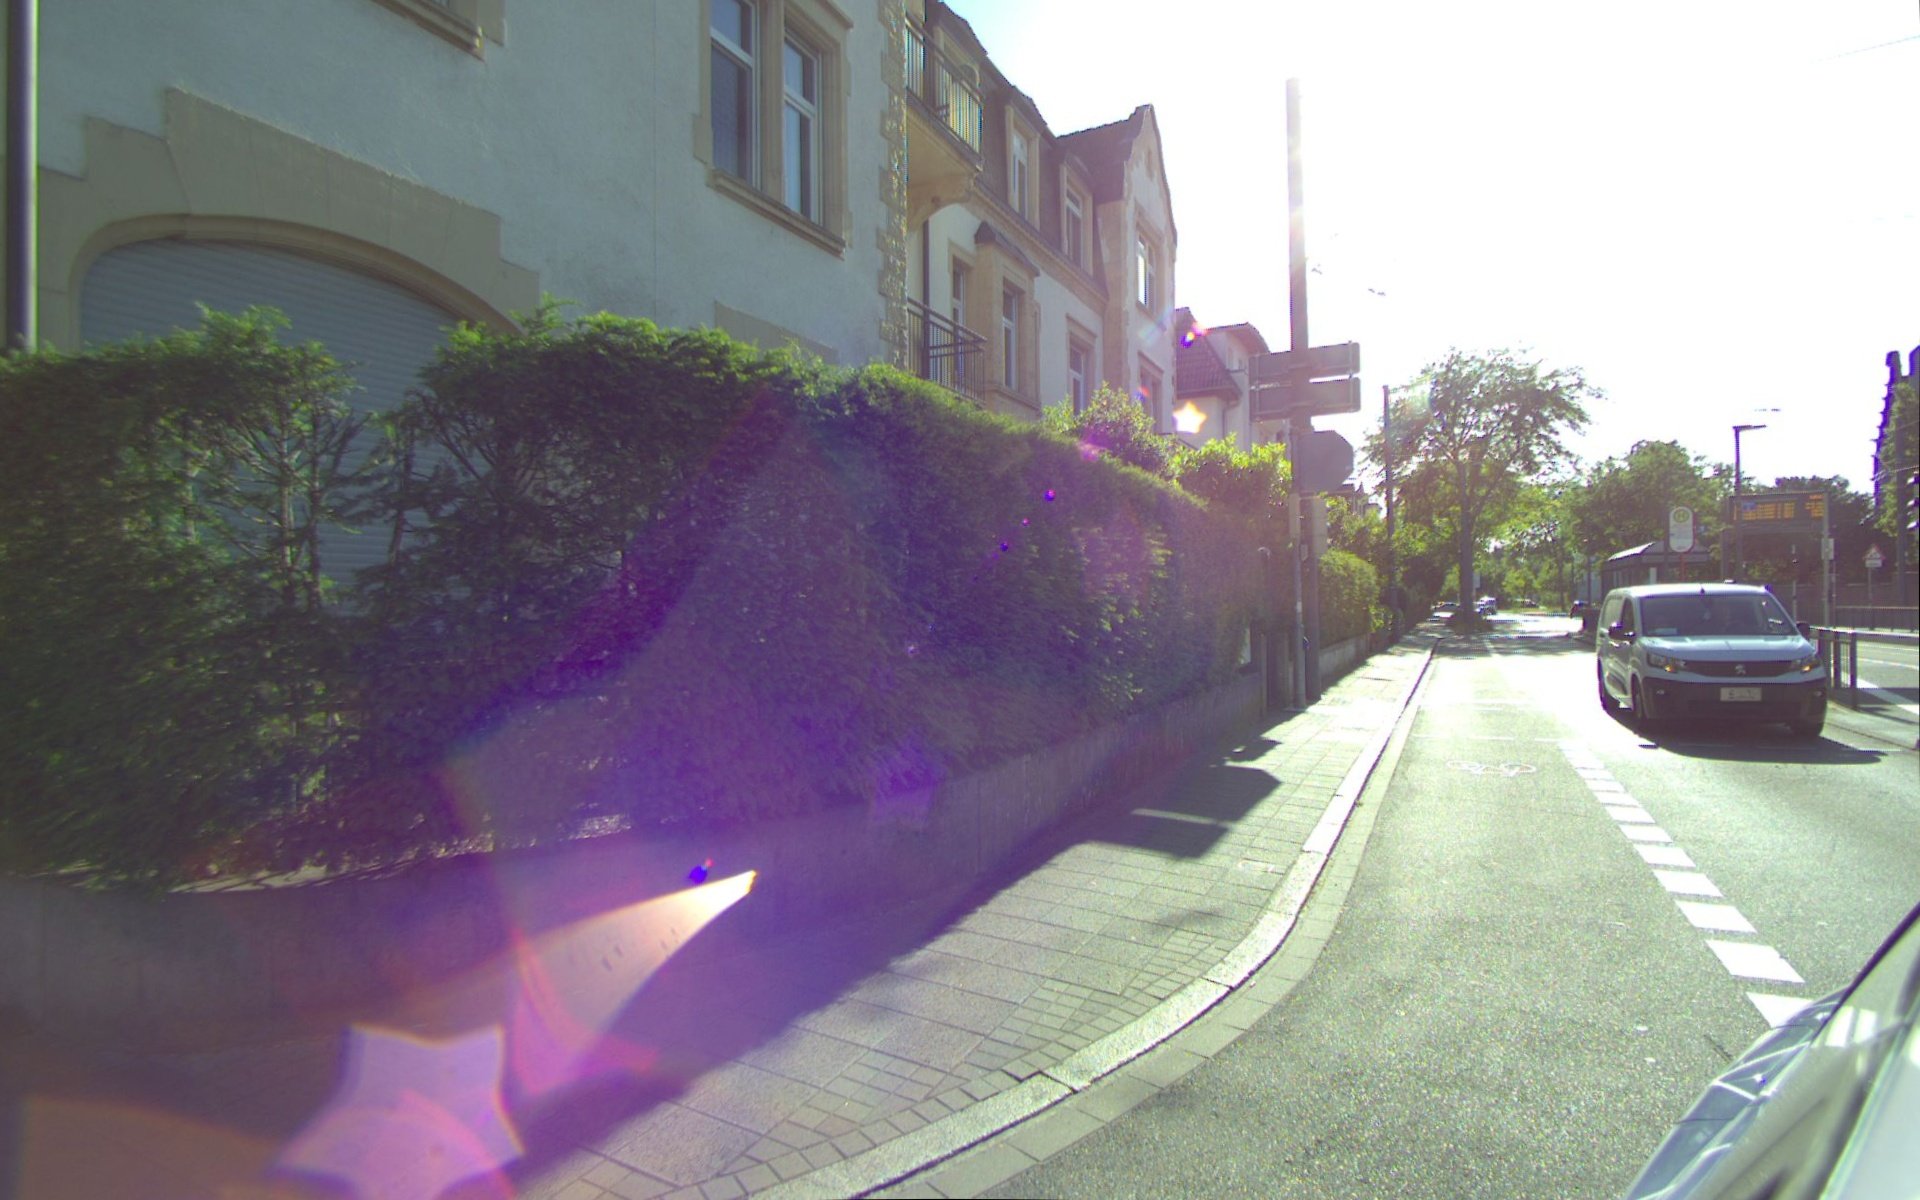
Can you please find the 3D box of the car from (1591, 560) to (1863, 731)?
[{"bbox_3d":[9.737,0.495,13.292,1.839,1.821,4.656,-3,-1,25],"label":"car"}]
